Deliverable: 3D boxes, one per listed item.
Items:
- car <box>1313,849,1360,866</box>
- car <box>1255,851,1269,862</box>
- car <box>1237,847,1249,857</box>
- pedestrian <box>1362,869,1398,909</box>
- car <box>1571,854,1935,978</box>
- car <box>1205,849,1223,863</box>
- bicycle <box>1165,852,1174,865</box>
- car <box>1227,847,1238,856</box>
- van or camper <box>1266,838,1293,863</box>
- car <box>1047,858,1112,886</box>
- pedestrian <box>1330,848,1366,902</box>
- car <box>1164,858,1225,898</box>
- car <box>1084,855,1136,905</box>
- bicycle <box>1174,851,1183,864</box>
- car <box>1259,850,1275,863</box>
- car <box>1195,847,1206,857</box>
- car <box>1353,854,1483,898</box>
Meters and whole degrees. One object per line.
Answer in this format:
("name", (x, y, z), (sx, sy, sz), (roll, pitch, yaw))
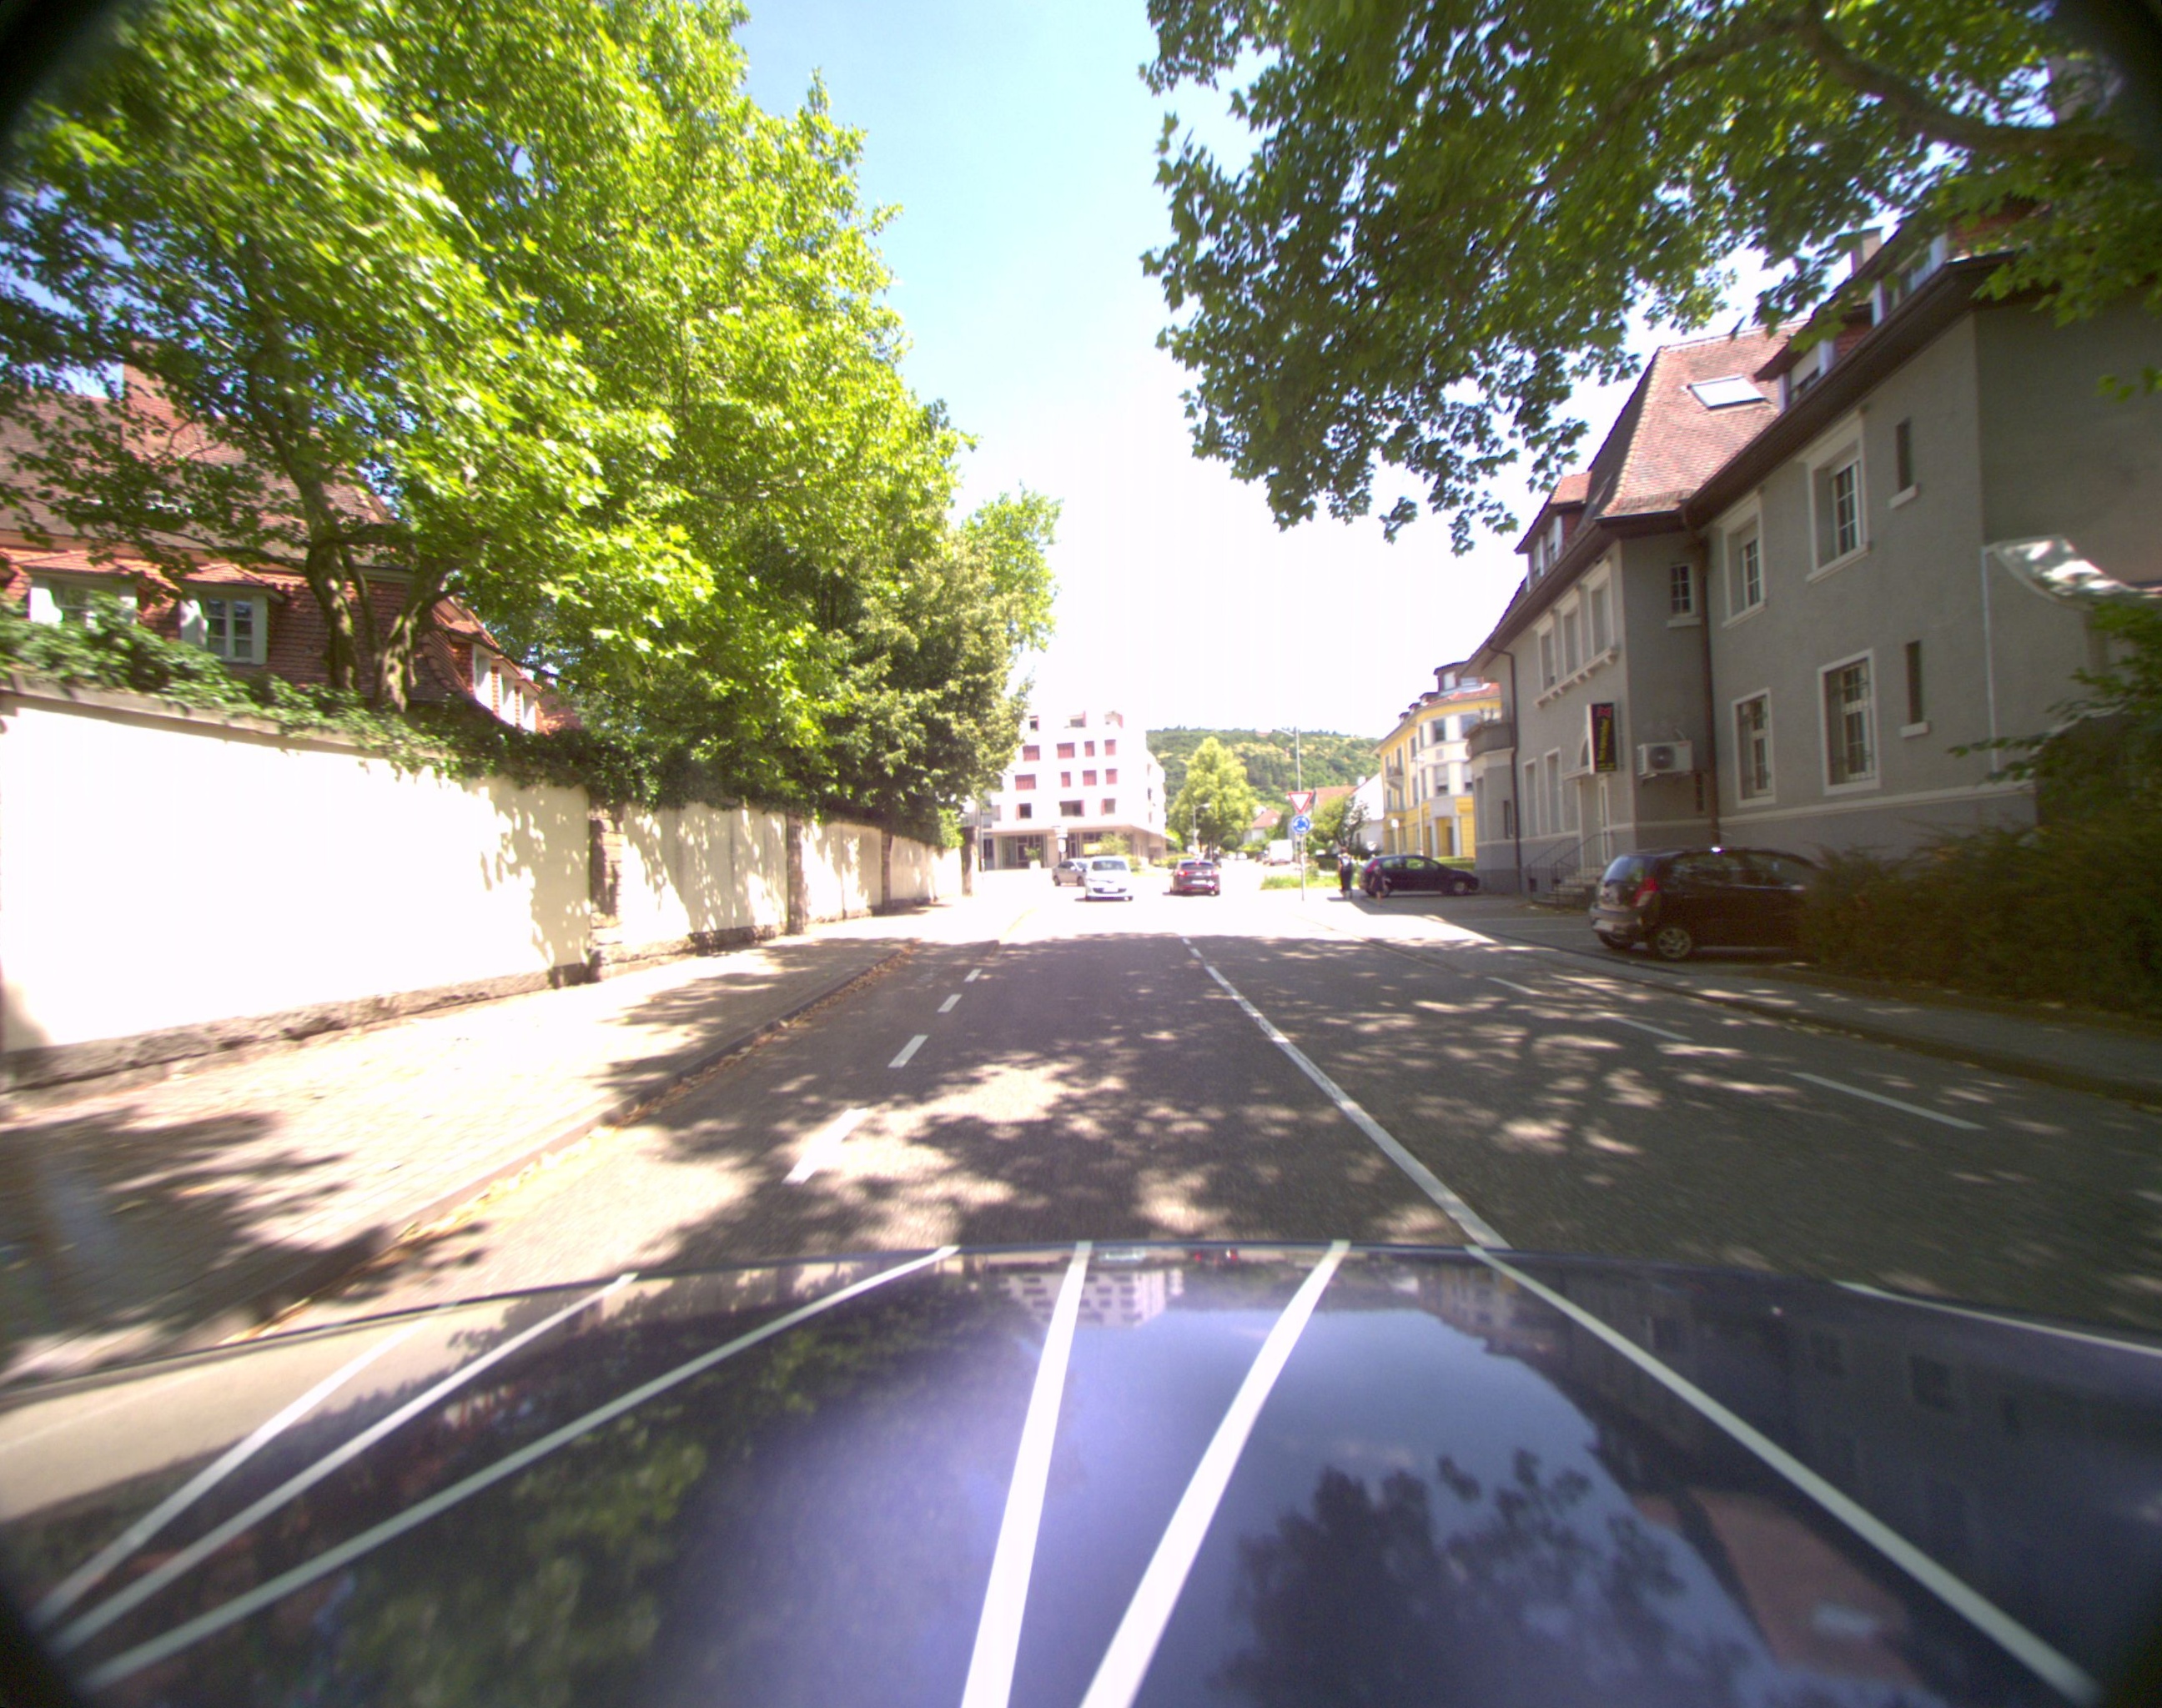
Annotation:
("car", (25.431, 0.334, 75.735), (3.990, 1.576, 1.756), (-1, 0, -3))
("car", (26.141, 0.387, 109.964), (1.753, 1.496, 3.996), (-1, 0, 11))
("car", (29.746, -0.414, 139.716), (1.997, 1.657, 4.002), (-1, 1, 9))
("pedestrian", (8.675, 1.001, 22.069), (0.755, 1.115, 0.898), (-1, 0, 6))
("car", (9.081, 0.795, 10.566), (3.387, 1.537, 1.725), (-1, 0, 10))
("car", (14.400, 0.189, 82.391), (1.754, 1.496, 3.995), (-1, 0, 9))
("bicycle", (9.295, 0.438, 79.661), (0.569, 1.370, 1.750), (-1, 0, 19))
("car", (30.080, -0.464, 151.192), (1.997, 1.657, 4.002), (-1, 1, 9))
("van or camper", (22.289, -0.357, 85.448), (2.271, 2.623, 5.890), (-4, 0, 10))
("car", (-0.129, 0.928, 41.019), (1.611, 1.443, 3.990), (-1, 0, -33))
("pedestrian", (8.784, 0.684, 25.010), (0.873, 1.732, 1.113), (-1, 0, 6))
("car", (4.411, 0.884, 30.148), (1.773, 1.418, 4.392), (-1, 0, 0))
("car", (1.055, 0.858, 26.986), (1.659, 1.516, 4.162), (-1, 1, 3))
("bicycle", (10.220, 0.364, 79.341), (0.569, 1.370, 1.750), (-1, 0, 19))
("car", (23.315, 0.292, 95.228), (1.753, 1.496, 3.996), (-1, 0, 11))
("car", (21.599, -0.338, 137.322), (1.764, 1.739, 4.003), (-1, 0, 11))
("car", (11.551, 0.742, 26.273), (3.787, 1.451, 1.725), (-1, 0, 10))
